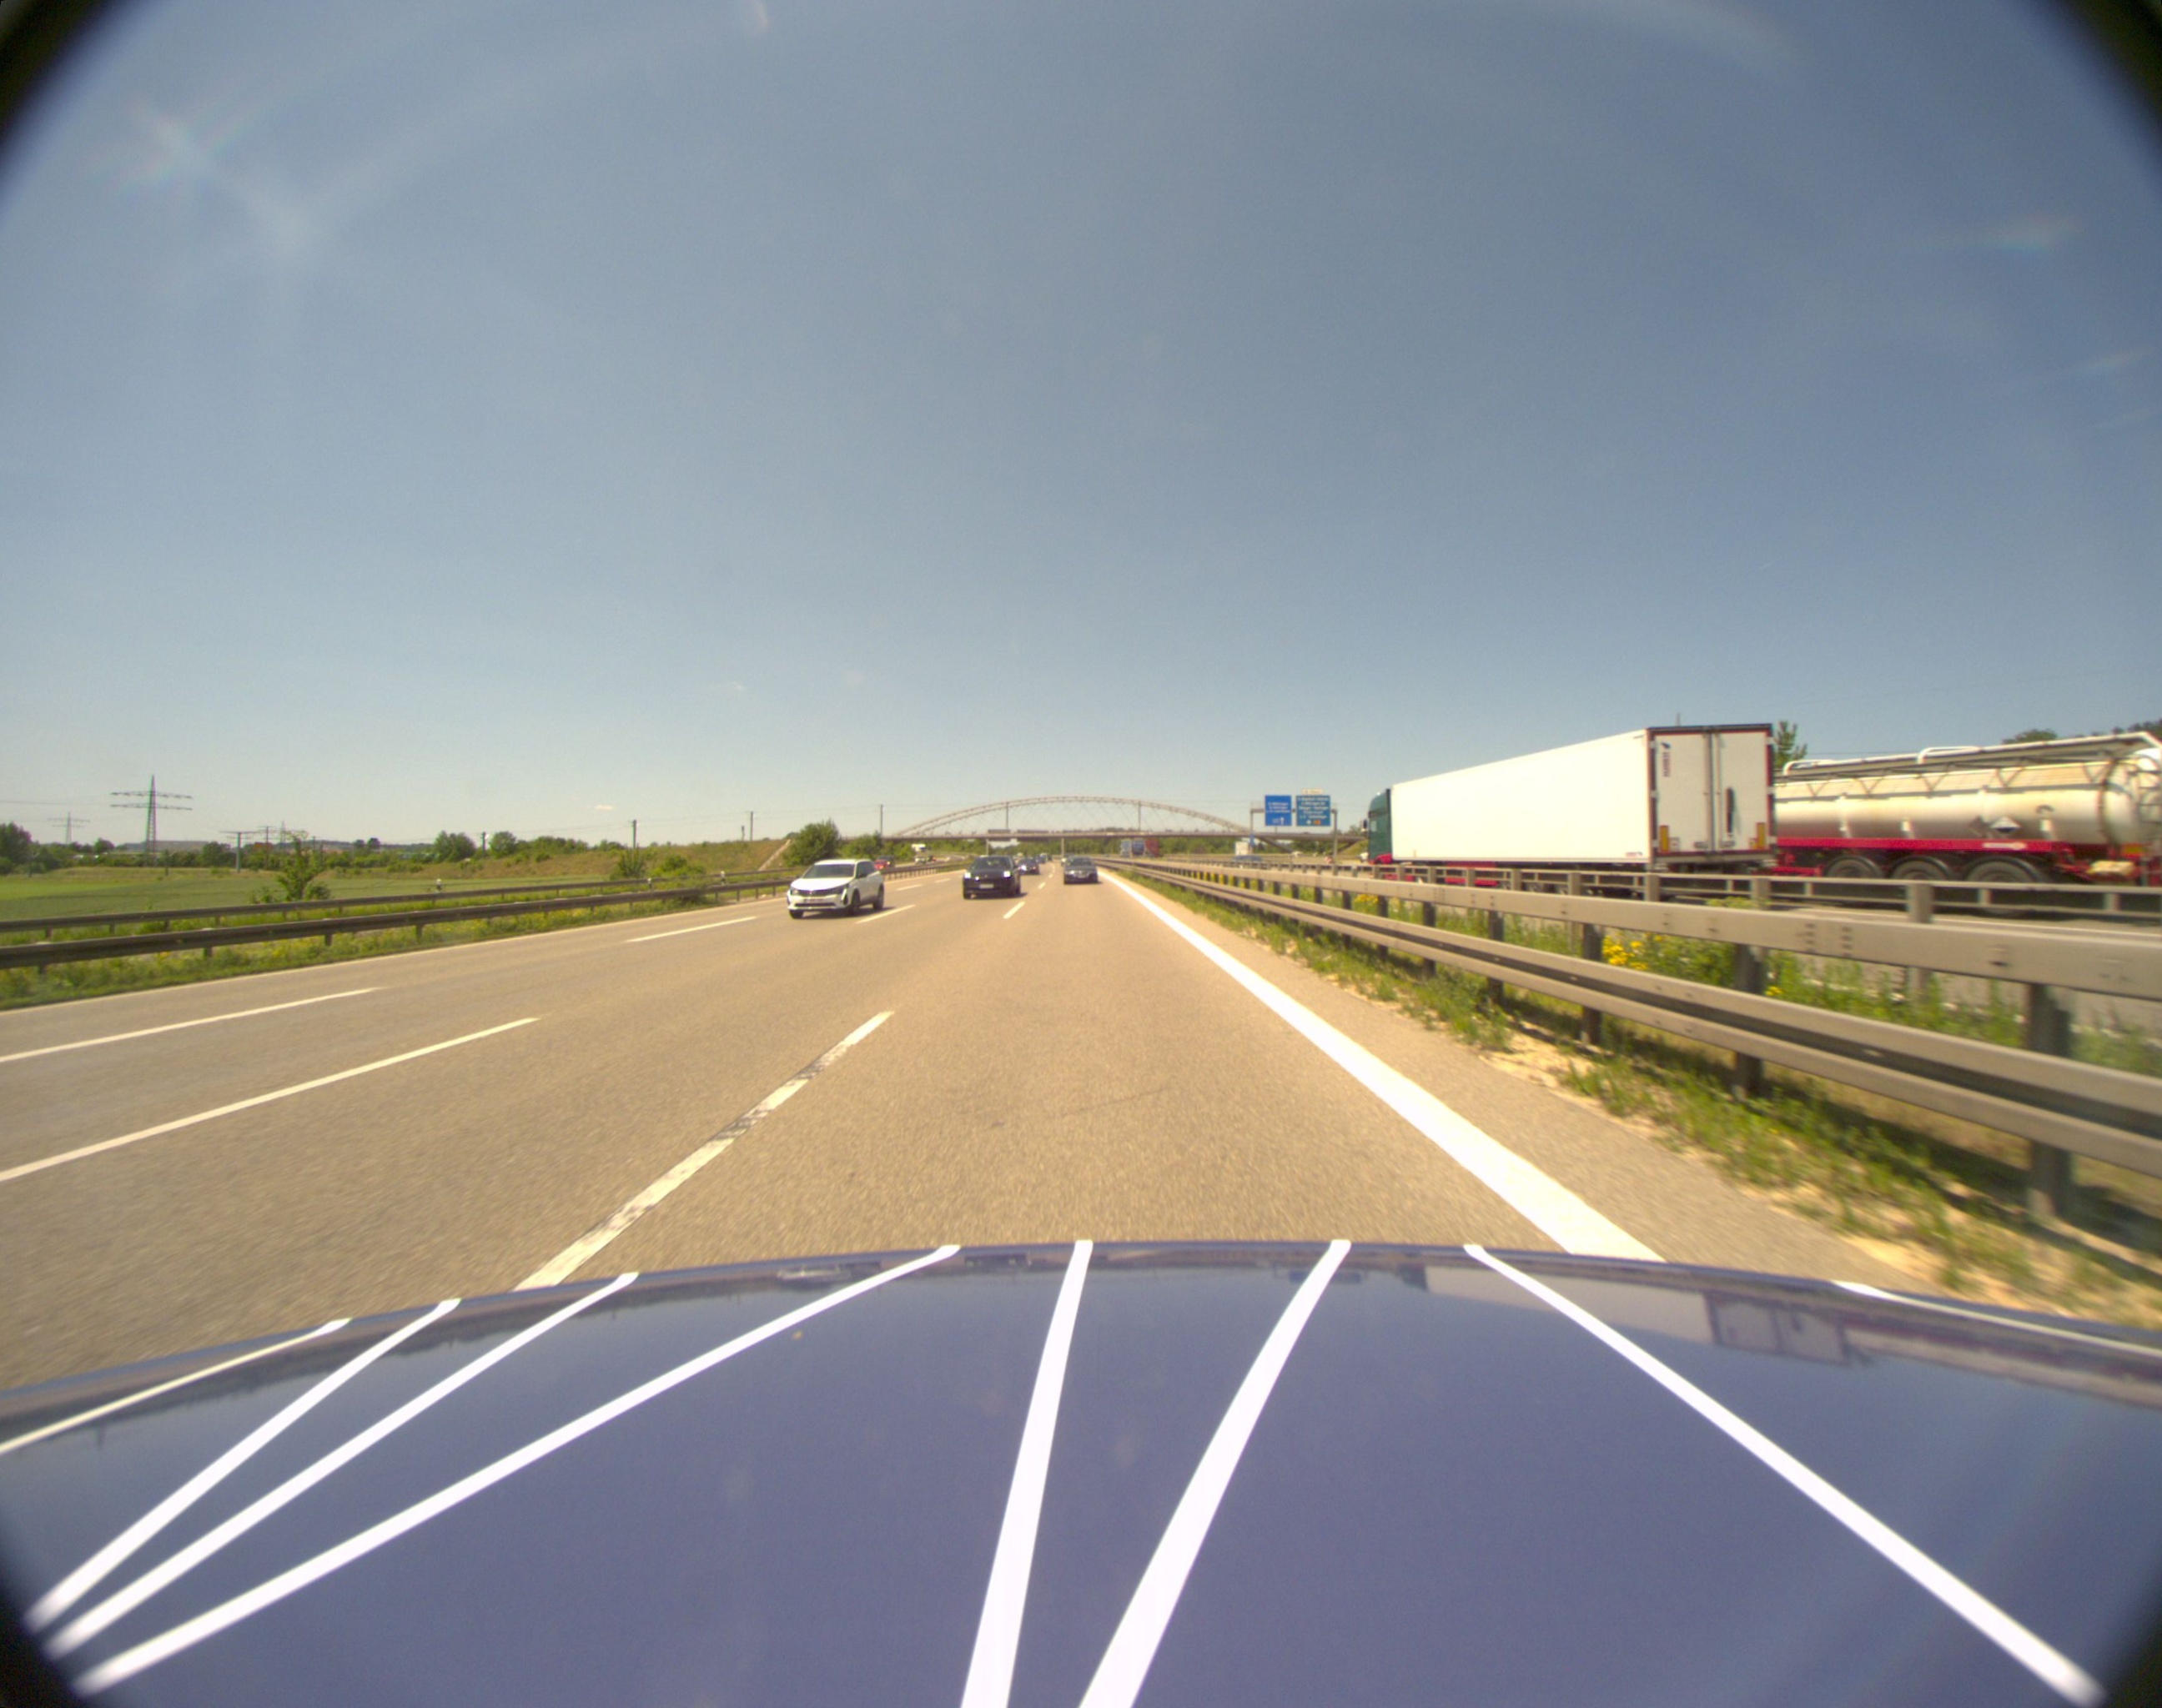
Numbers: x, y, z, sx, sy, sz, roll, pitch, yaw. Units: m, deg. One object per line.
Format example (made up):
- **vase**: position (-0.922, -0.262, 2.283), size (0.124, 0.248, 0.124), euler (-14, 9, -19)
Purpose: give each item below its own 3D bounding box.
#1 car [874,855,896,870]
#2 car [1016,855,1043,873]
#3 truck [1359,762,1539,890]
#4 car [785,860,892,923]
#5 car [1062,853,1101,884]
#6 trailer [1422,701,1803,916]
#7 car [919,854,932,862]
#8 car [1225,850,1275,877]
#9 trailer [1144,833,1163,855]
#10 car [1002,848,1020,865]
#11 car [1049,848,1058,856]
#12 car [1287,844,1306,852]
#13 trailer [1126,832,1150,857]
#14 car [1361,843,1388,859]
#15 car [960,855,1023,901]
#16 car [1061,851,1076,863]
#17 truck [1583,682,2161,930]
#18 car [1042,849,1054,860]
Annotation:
- **car**: position (-22.403, 0.941, 86.766), size (1.704, 1.566, 4.126), euler (-2, 1, -5)
- **car**: position (-4.226, 0.810, 62.849), size (1.931, 1.390, 4.117), euler (-2, 1, 0)
- **truck**: position (13.419, -0.942, 28.603), size (2.974, 4.096, 7.596), euler (-2, 1, 0)
- **car**: position (-7.191, 1.027, 23.033), size (1.748, 1.582, 4.619), euler (-2, 1, 0)
- **car**: position (-0.030, 0.733, 40.954), size (1.932, 1.499, 4.390), euler (-2, 1, -1)
- **trailer**: position (13.407, -0.983, 21.053), size (2.963, 4.346, 10.731), euler (-2, 1, 0)
- **car**: position (-30.531, 0.732, 149.482), size (1.704, 1.566, 4.127), euler (-2, 1, -1)
- **car**: position (9.537, 0.496, 43.144), size (1.809, 1.382, 4.290), euler (-2, 0, 0)
- **trailer**: position (14.243, -1.945, 149.738), size (2.566, 4.081, 8.712), euler (-2, 1, -3)
- **car**: position (-8.588, 0.312, 93.250), size (1.808, 1.908, 4.294), euler (-2, 1, 0)
- **car**: position (-6.885, -0.451, 188.514), size (1.999, 1.849, 3.999), euler (-2, 1, -1)
- **car**: position (33.380, -0.929, 117.981), size (1.682, 1.196, 4.402), euler (-1, 0, -1)
- **trailer**: position (10.373, -1.760, 140.123), size (2.953, 4.317, 14.616), euler (-2, 1, -1)
- **car**: position (31.842, -0.330, 82.550), size (1.681, 1.603, 4.404), euler (-1, 0, 7)
- **car**: position (-3.423, 0.885, 29.864), size (1.931, 1.586, 4.131), euler (-2, 1, 0)
- **car**: position (-1.678, 0.370, 100.859), size (1.932, 1.390, 4.116), euler (-2, 1, -2)
- **truck**: position (17.828, -0.802, 18.034), size (3.227, 3.764, 12.899), euler (-2, 0, 0)
- **car**: position (-5.882, 0.110, 135.154), size (1.925, 1.761, 3.998), euler (-2, 1, -3)
